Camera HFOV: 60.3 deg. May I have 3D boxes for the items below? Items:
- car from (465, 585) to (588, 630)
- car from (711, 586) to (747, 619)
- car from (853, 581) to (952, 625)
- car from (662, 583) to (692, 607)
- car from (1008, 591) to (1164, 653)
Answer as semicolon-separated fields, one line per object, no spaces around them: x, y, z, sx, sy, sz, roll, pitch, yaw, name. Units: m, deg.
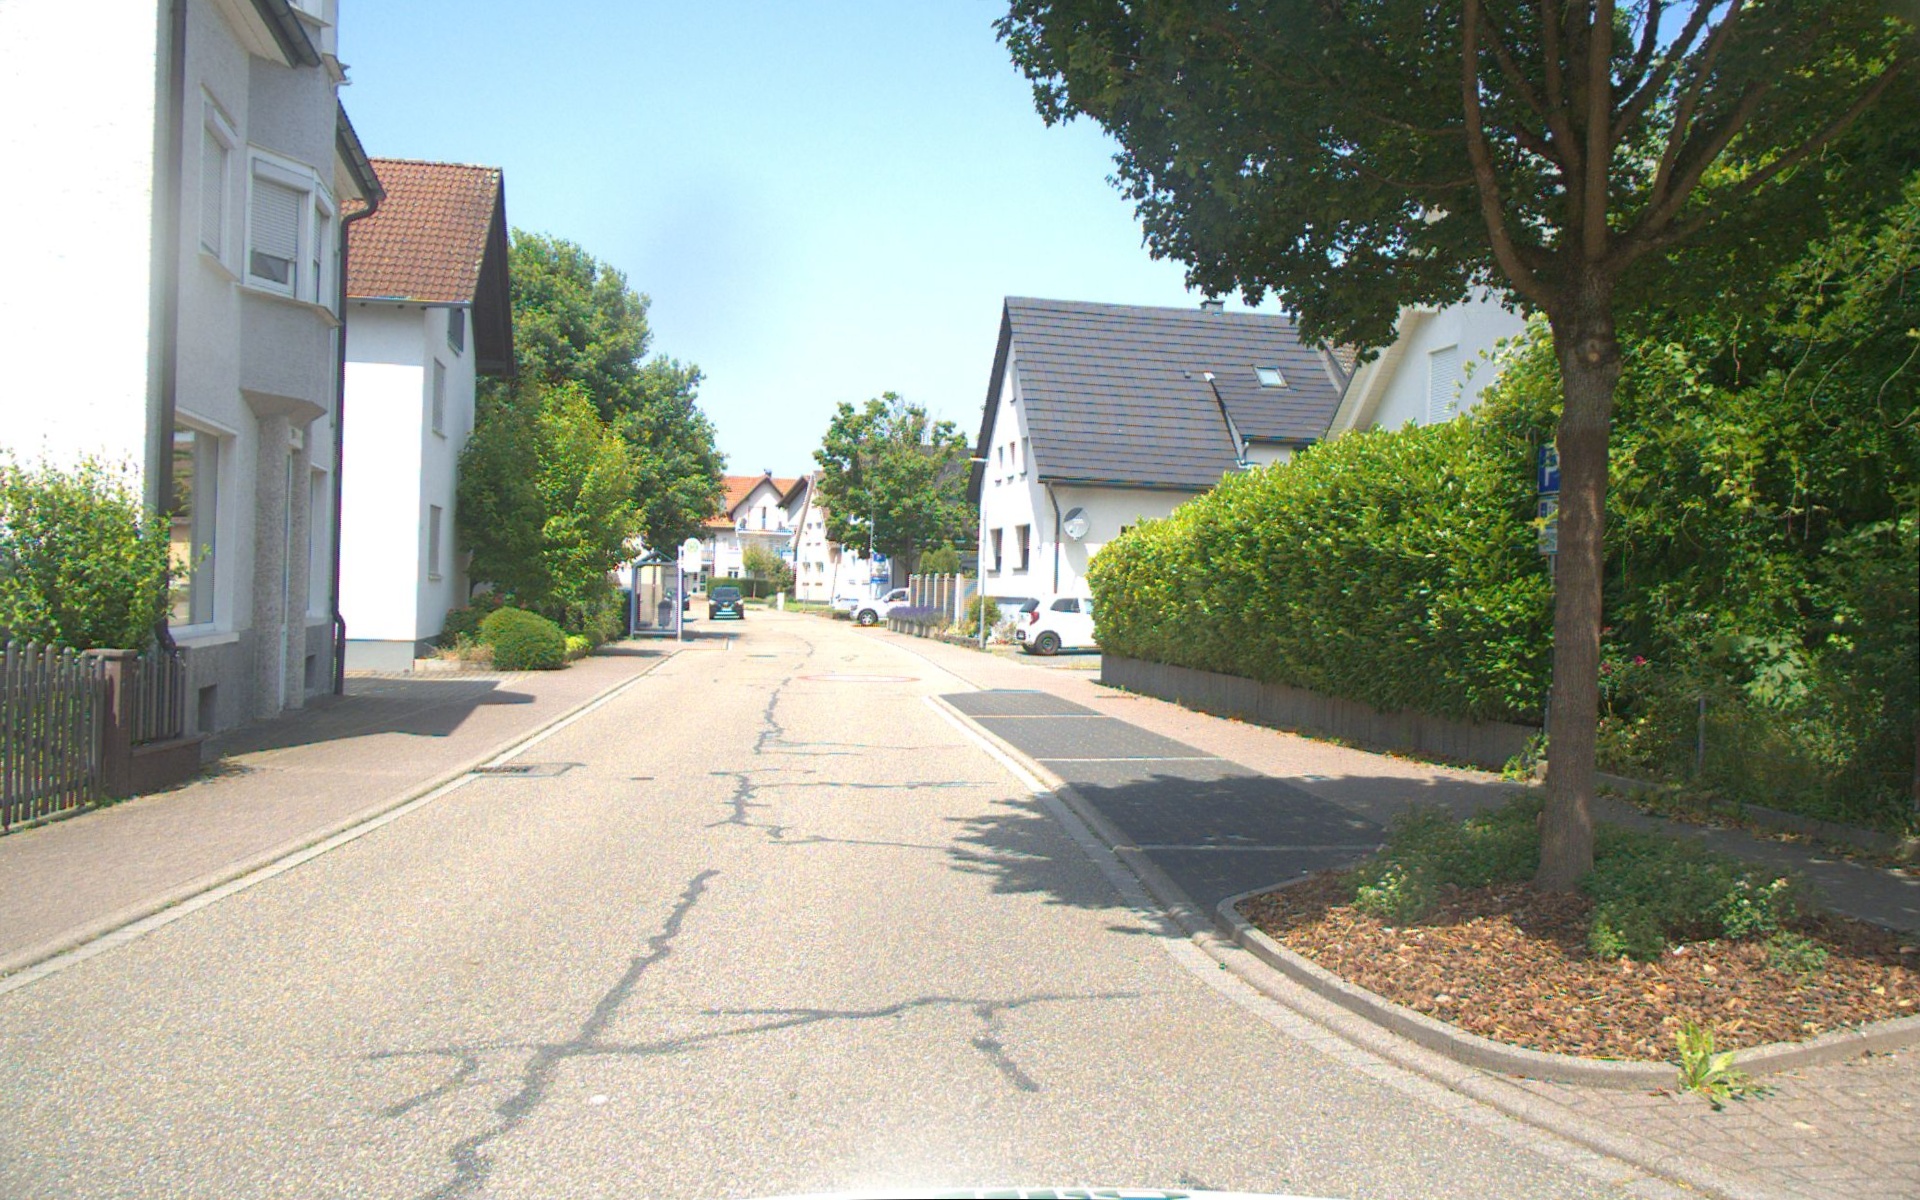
-15.350;0.249;58.761;4.085;1.565;1.769;0;1;-11;car
-12.025;0.105;85.816;1.743;1.652;4.096;1;0;-9;car
-2.577;0.112;73.900;4.235;1.797;1.889;-2;1;-8;car
-18.599;-0.335;108.455;1.599;1.512;3.985;1;0;-14;car
3.164;0.534;41.858;3.594;1.500;1.760;0;1;-13;car
